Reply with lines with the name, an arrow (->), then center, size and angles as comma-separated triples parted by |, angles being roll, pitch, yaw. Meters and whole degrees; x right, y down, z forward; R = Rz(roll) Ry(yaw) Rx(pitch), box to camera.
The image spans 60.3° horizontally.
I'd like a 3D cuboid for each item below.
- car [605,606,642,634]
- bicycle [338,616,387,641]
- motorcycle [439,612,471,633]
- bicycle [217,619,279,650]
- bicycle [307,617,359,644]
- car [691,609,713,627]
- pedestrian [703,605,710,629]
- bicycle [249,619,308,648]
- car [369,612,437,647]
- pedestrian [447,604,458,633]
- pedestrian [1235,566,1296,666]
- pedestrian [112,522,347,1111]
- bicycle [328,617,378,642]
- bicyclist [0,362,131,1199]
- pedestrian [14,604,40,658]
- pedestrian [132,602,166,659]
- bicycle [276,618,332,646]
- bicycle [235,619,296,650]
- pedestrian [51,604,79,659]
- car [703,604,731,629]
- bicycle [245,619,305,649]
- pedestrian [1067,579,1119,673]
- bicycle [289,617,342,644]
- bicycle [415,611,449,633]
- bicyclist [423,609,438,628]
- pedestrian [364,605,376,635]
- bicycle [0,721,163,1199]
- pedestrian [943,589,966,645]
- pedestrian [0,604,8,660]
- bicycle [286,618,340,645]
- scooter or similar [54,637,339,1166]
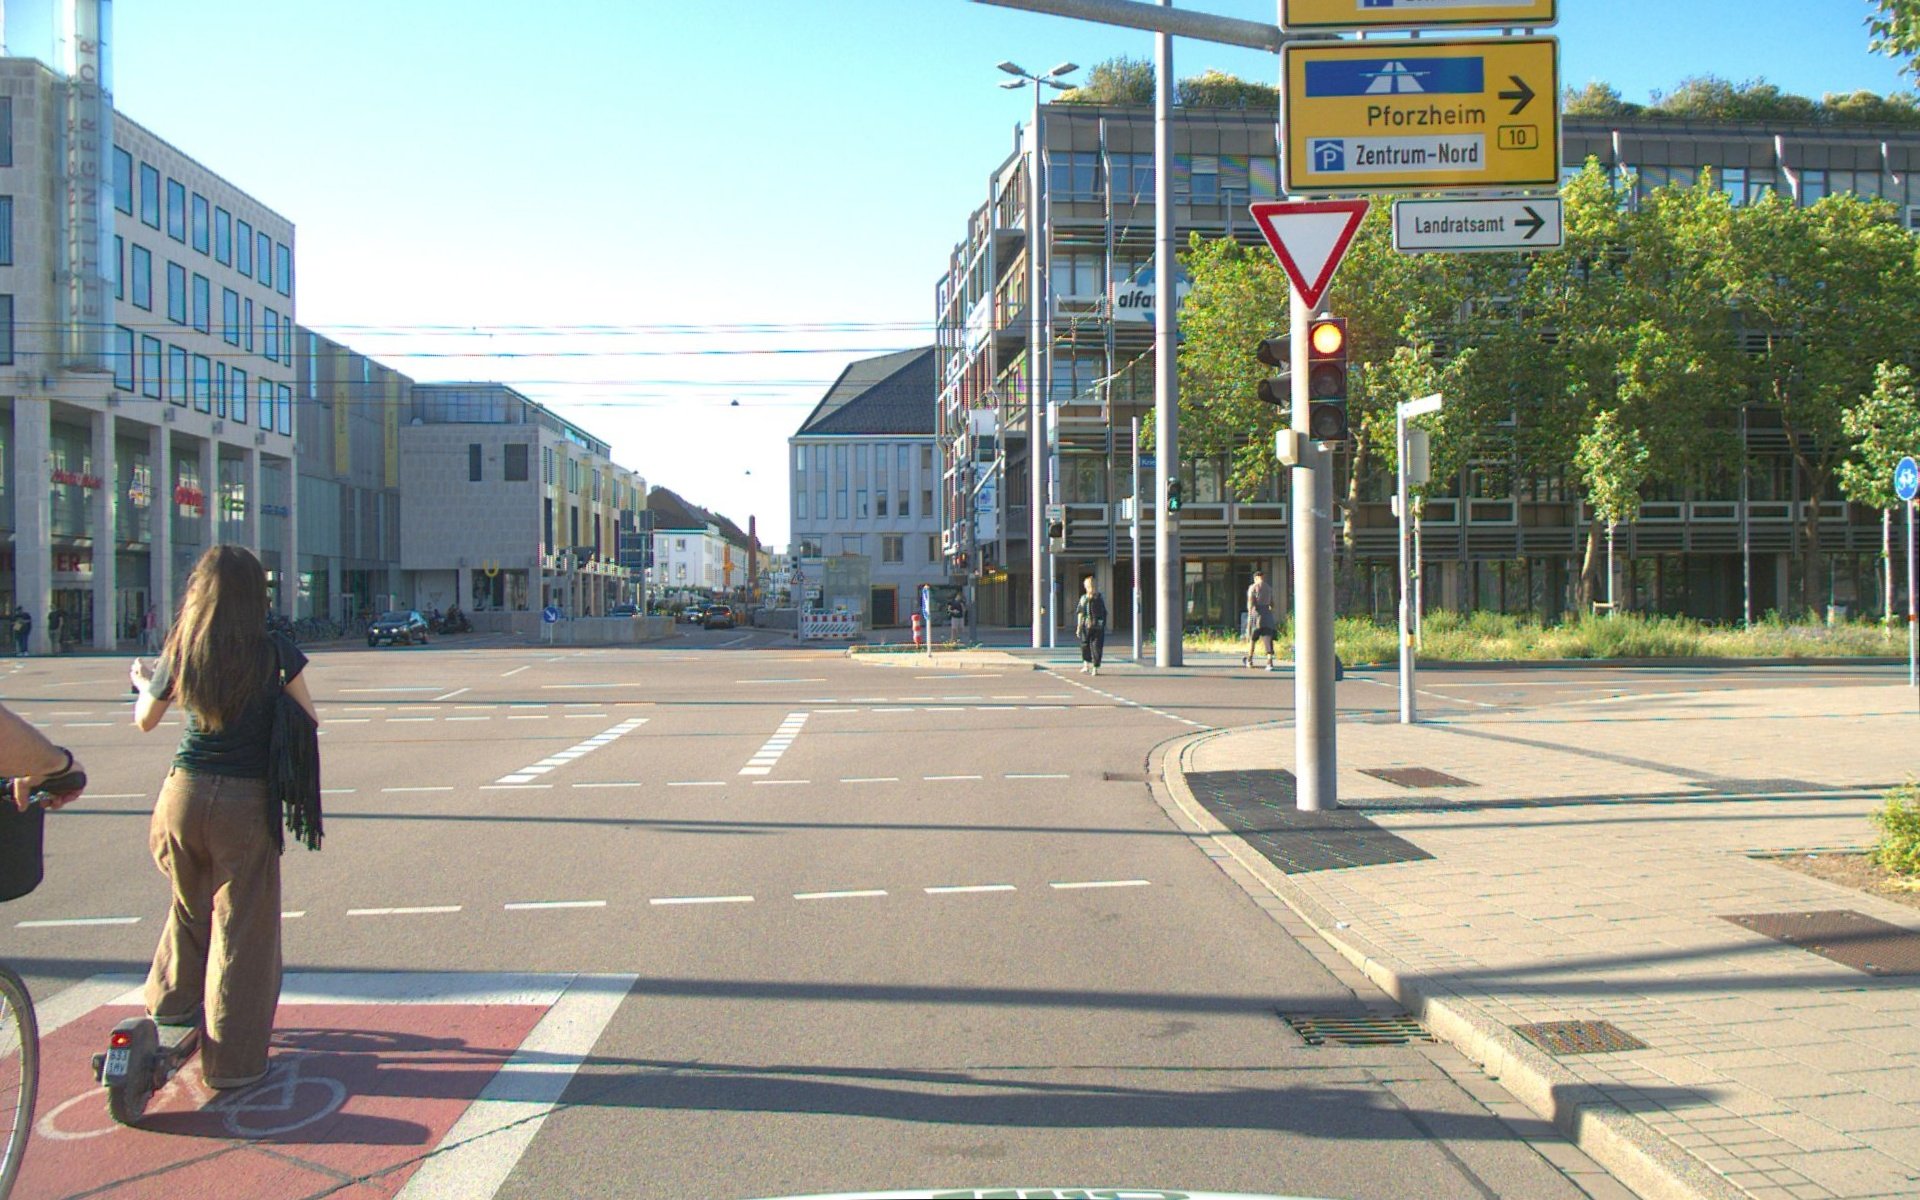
car -> -20.730, 1.227, 101.968 | 1.762, 1.686, 3.996 | 1, 0, -5
bicycle -> -30.812, 1.485, 85.333 | 2.260, 1.244, 0.611 | 0, 0, -3
motorcycle -> -29.756, 1.342, 97.470 | 1.775, 1.228, 0.509 | 1, 0, -16
bicycle -> -29.332, 1.433, 68.111 | 2.260, 1.244, 0.611 | 0, 0, -3
bicycle -> -30.331, 1.470, 80.046 | 2.260, 1.244, 0.611 | 0, 0, -3
car -> -24.608, 1.711, 157.646 | 1.762, 1.686, 3.996 | 1, 0, -5
pedestrian -> -17.873, 1.199, 116.601 | 0.511, 1.709, 0.582 | 1, 0, -8
bicycle -> -29.502, 1.446, 71.628 | 2.260, 1.244, 0.611 | 0, 0, -3
car -> -23.376, 1.216, 69.478 | 1.597, 1.365, 3.998 | -3, 0, -3
pedestrian -> -30.093, 1.088, 98.073 | 0.512, 1.709, 0.581 | 1, 0, -14
pedestrian -> 5.323, 0.280, 28.886 | 0.861, 1.694, 0.964 | 1, -1, -1
pedestrian -> -2.192, 0.615, 5.019 | 0.540, 1.661, 0.569 | 1, -1, -16
bicycle -> -30.924, 1.478, 84.262 | 2.260, 1.244, 0.611 | 0, 0, -3
bicyclist -> -1.983, 0.462, 2.844 | 0.647, 1.750, 0.865 | 1, -1, -1
pedestrian -> -32.862, 1.085, 58.258 | 0.787, 1.876, 0.856 | 0, 0, -29
pedestrian -> -29.261, 1.090, 59.682 | 0.868, 2.049, 0.771 | 1, -1, -12
bicycle -> -29.601, 1.458, 74.692 | 2.260, 1.244, 0.611 | 0, 0, -3
bicycle -> -29.124, 1.443, 69.397 | 2.260, 1.244, 0.611 | 0, 0, -3
pedestrian -> -31.170, 1.076, 57.598 | 0.788, 1.876, 0.854 | 0, 0, -33
car -> -15.819, 1.075, 107.939 | 1.705, 1.558, 3.849 | 1, 0, -8
bicycle -> -29.288, 1.446, 70.751 | 2.260, 1.244, 0.611 | 0, 0, -3
pedestrian -> 2.183, 0.421, 27.227 | 0.772, 1.518, 0.644 | 1, -1, -1
bicycle -> -30.711, 1.458, 78.813 | 2.260, 1.244, 0.611 | 0, 0, -3
bicycle -> -30.056, 1.251, 94.146 | 0.503, 1.228, 1.798 | 1, 0, 44
bicyclist -> -30.114, 1.054, 94.080 | 0.503, 1.103, 0.621 | 1, 0, 42
pedestrian -> -34.689, 1.165, 97.298 | 0.560, 1.709, 0.614 | 1, 0, -10
bicycle -> -2.086, 0.866, 2.919 | 0.475, 1.176, 1.831 | 1, 0, -1
pedestrian -> -0.202, 0.588, 57.288 | 0.772, 1.923, 0.644 | 1, -1, -1
pedestrian -> -33.137, 1.099, 56.758 | 0.706, 1.918, 0.780 | 1, -1, -28
bicycle -> -30.062, 1.460, 76.843 | 2.260, 1.244, 0.611 | 0, 0, -3
scooter or similar -> -2.182, 0.783, 4.852 | 0.538, 1.316, 1.189 | 1, 0, -15
